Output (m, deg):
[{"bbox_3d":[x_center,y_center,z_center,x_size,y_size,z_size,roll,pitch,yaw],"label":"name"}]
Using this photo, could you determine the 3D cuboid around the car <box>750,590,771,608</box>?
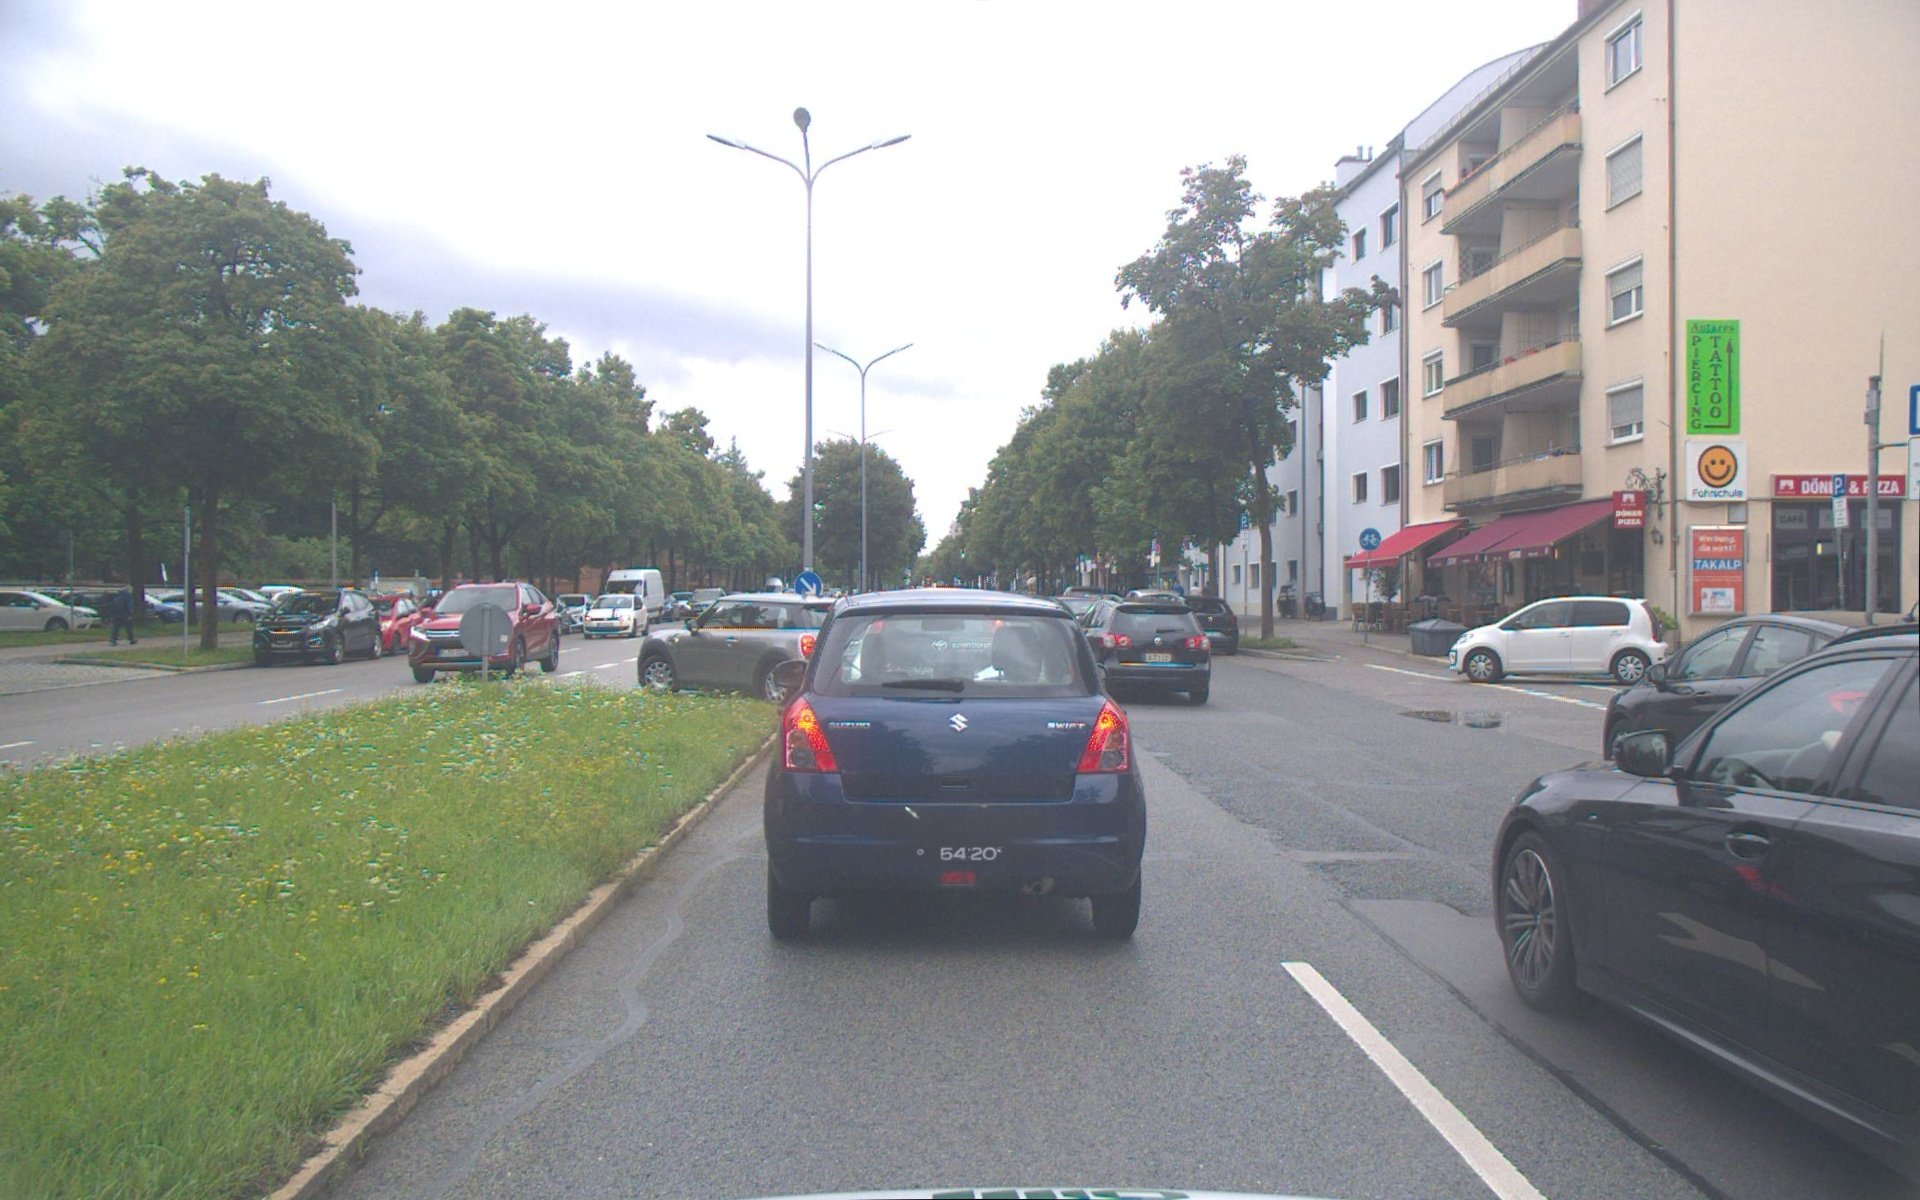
[{"bbox_3d":[-19.033,-0.093,157.996,1.599,1.610,3.877,1,0,-2],"label":"car"}]

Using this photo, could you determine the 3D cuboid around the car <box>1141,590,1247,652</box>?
[{"bbox_3d":[5.890,0.493,42.080,1.829,1.442,4.221,-1,1,-4],"label":"car"}]

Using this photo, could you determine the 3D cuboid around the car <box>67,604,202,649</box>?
[{"bbox_3d":[-28.416,0.900,57.001,3.792,1.471,1.670,1,0,-7],"label":"car"}]

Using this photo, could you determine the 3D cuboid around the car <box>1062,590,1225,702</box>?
[{"bbox_3d":[2.626,0.610,24.631,1.696,1.457,4.439,1,1,-3],"label":"car"}]

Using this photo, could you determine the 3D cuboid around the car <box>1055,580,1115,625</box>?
[{"bbox_3d":[4.870,0.077,64.999,1.828,1.712,4.222,-1,1,-3],"label":"car"}]

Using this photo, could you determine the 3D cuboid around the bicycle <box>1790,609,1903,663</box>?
[{"bbox_3d":[16.367,0.658,30.542,1.810,0.974,0.557,1,0,-2],"label":"bicycle"}]

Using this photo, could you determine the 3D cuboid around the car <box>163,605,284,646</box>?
[{"bbox_3d":[-27.762,0.969,62.415,3.792,1.471,1.670,1,0,-7],"label":"car"}]

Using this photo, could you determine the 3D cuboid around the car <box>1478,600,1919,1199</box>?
[{"bbox_3d":[3.025,0.761,4.432,1.723,1.438,4.461,1,1,-2],"label":"car"}]

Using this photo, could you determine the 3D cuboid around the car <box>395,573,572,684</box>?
[{"bbox_3d":[-8.301,0.447,29.234,1.865,1.726,4.245,-2,0,-1],"label":"car"}]

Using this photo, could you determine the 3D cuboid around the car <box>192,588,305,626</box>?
[{"bbox_3d":[-28.177,0.268,65.582,3.792,1.471,1.670,1,0,-7],"label":"car"}]

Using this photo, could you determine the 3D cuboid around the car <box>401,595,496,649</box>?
[{"bbox_3d":[-14.814,0.610,48.049,1.633,1.471,3.877,1,0,-2],"label":"car"}]

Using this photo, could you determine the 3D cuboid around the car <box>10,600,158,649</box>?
[{"bbox_3d":[-27.963,0.777,52.858,3.792,1.471,1.670,1,0,-7],"label":"car"}]

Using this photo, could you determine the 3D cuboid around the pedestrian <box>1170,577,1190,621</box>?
[{"bbox_3d":[10.350,-0.065,77.809,0.778,2.049,1.006,0,0,-1],"label":"pedestrian"}]

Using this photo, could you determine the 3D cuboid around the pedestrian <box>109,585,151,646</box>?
[{"bbox_3d":[-21.669,0.406,43.183,0.712,1.561,0.721,1,0,-1],"label":"pedestrian"}]

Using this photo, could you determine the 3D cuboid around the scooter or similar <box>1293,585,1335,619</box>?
[{"bbox_3d":[13.865,0.063,64.880,1.011,1.330,2.755,0,0,0],"label":"scooter or similar"}]

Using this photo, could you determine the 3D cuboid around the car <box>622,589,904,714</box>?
[{"bbox_3d":[-2.651,0.611,21.857,3.665,1.488,1.679,1,1,40],"label":"car"}]

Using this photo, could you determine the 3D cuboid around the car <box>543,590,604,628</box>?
[{"bbox_3d":[-15.243,0.346,65.412,1.599,1.456,3.877,1,0,-2],"label":"car"}]

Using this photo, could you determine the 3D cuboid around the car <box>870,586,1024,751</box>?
[{"bbox_3d":[-0.172,0.618,16.758,1.415,1.509,3.105,0,1,-2],"label":"car"}]

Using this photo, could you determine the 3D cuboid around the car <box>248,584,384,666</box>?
[{"bbox_3d":[-14.718,0.538,37.981,1.682,1.771,3.877,1,0,-2],"label":"car"}]

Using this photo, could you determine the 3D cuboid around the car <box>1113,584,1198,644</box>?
[{"bbox_3d":[5.480,0.353,46.816,1.755,1.585,4.223,-1,1,-2],"label":"car"}]

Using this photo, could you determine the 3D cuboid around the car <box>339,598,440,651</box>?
[{"bbox_3d":[-14.959,0.621,43.549,1.558,1.335,3.379,1,0,-2],"label":"car"}]

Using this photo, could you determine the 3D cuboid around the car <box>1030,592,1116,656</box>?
[{"bbox_3d":[2.607,0.529,38.899,1.648,1.408,3.918,1,0,-1],"label":"car"}]

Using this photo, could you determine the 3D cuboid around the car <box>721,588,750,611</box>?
[{"bbox_3d":[-16.009,-0.066,118.121,1.599,1.610,3.877,1,0,-2],"label":"car"}]

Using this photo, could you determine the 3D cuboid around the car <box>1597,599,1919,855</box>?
[{"bbox_3d":[6.031,0.769,11.634,1.584,1.491,3.673,2,0,-1],"label":"car"}]

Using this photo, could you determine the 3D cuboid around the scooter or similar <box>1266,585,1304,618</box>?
[{"bbox_3d":[13.480,0.038,68.660,1.011,1.330,2.755,0,0,0],"label":"scooter or similar"}]

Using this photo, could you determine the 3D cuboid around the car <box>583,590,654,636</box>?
[{"bbox_3d":[-11.361,0.406,55.230,1.586,1.399,3.837,-2,0,-1],"label":"car"}]

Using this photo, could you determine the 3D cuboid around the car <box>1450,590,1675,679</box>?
[{"bbox_3d":[10.385,0.565,28.494,3.478,1.442,1.870,0,1,26],"label":"car"}]

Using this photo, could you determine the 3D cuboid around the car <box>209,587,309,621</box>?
[{"bbox_3d":[-31.510,0.176,74.385,3.792,1.471,1.670,1,0,-7],"label":"car"}]

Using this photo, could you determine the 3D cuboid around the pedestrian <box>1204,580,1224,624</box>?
[{"bbox_3d":[11.960,0.090,77.862,0.778,2.049,1.006,0,0,-1],"label":"pedestrian"}]

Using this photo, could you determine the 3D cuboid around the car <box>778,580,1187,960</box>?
[{"bbox_3d":[0.027,0.664,8.634,1.648,1.528,3.917,0,1,-2],"label":"car"}]

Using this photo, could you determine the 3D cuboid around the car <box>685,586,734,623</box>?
[{"bbox_3d":[-12.023,0.198,79.627,1.730,1.651,4.505,-2,0,-1],"label":"car"}]

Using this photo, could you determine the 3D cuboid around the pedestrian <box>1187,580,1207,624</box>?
[{"bbox_3d":[11.161,0.080,77.783,0.778,2.049,1.006,0,0,-1],"label":"pedestrian"}]

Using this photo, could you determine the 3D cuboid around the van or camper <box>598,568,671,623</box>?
[{"bbox_3d":[-15.578,-0.224,79.587,2.073,2.525,7.448,1,0,0],"label":"van or camper"}]

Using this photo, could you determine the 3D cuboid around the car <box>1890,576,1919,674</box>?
[{"bbox_3d":[18.801,0.399,28.747,4.308,1.690,1.869,-1,0,-6],"label":"car"}]

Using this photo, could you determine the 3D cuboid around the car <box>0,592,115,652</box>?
[{"bbox_3d":[-27.864,0.647,49.915,3.843,1.748,1.670,1,0,-7],"label":"car"}]

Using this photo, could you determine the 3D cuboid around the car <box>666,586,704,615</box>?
[{"bbox_3d":[-15.751,0.017,94.925,1.599,1.610,3.877,1,0,-2],"label":"car"}]
